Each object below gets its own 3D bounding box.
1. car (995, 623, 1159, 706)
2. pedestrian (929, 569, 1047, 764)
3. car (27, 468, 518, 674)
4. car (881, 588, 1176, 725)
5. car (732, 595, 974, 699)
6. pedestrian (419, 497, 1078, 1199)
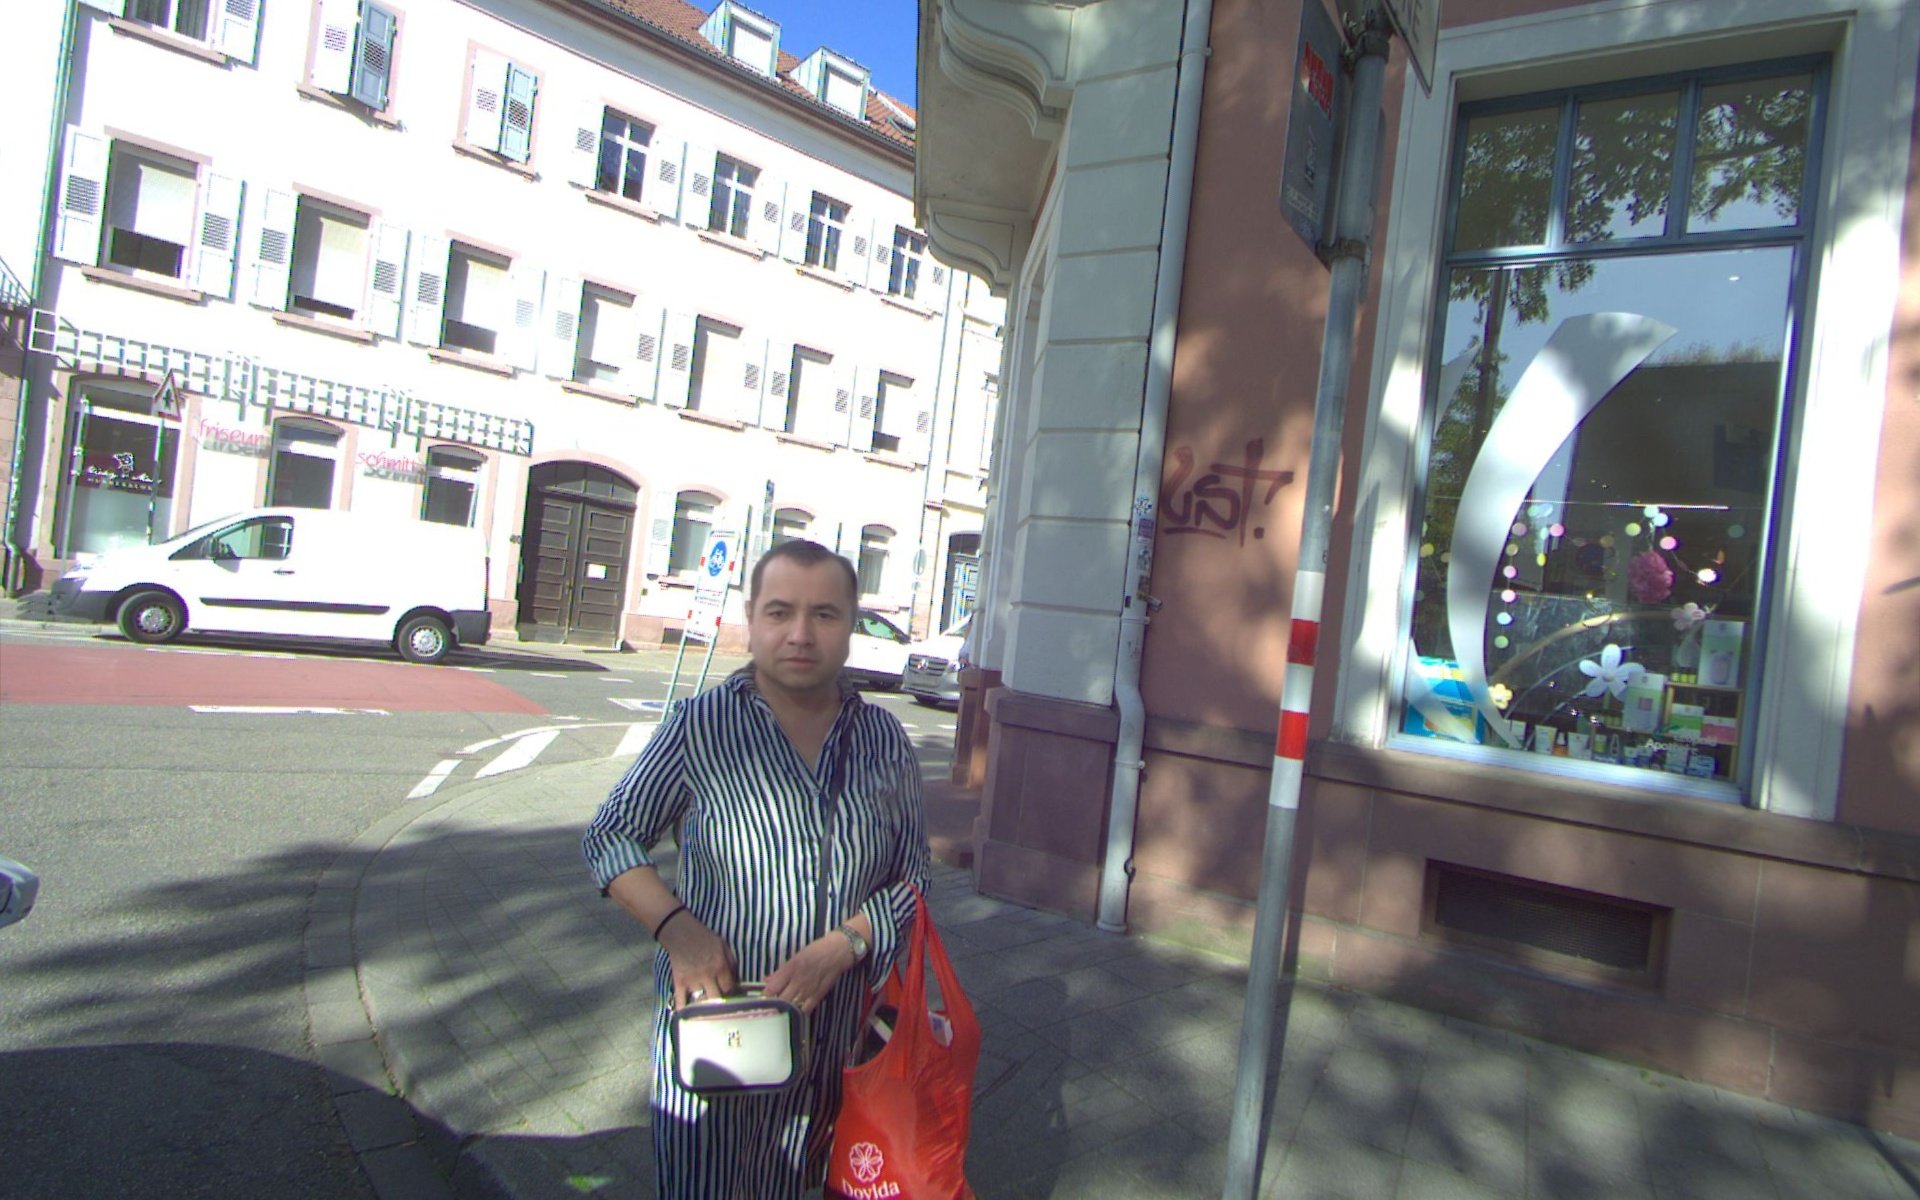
[{"bbox_3d":[2.776,1.528,23.489,3.609,1.559,1.616,8,-3,-38],"label":"car"},{"bbox_3d":[0.277,0.647,9.774,0.819,1.784,0.749,-1,-4,37],"label":"pedestrian"},{"bbox_3d":[-8.914,-0.264,13.564,4.980,1.969,2.032,8,-1,-35],"label":"car"},{"bbox_3d":[1.399,1.097,18.268,5.390,1.930,2.083,8,-2,-43],"label":"car"},{"bbox_3d":[-1.983,0.944,19.430,4.347,1.559,1.630,8,-3,-38],"label":"car"},{"bbox_3d":[-0.293,0.668,1.757,0.830,1.596,0.845,3,4,2],"label":"pedestrian"}]
